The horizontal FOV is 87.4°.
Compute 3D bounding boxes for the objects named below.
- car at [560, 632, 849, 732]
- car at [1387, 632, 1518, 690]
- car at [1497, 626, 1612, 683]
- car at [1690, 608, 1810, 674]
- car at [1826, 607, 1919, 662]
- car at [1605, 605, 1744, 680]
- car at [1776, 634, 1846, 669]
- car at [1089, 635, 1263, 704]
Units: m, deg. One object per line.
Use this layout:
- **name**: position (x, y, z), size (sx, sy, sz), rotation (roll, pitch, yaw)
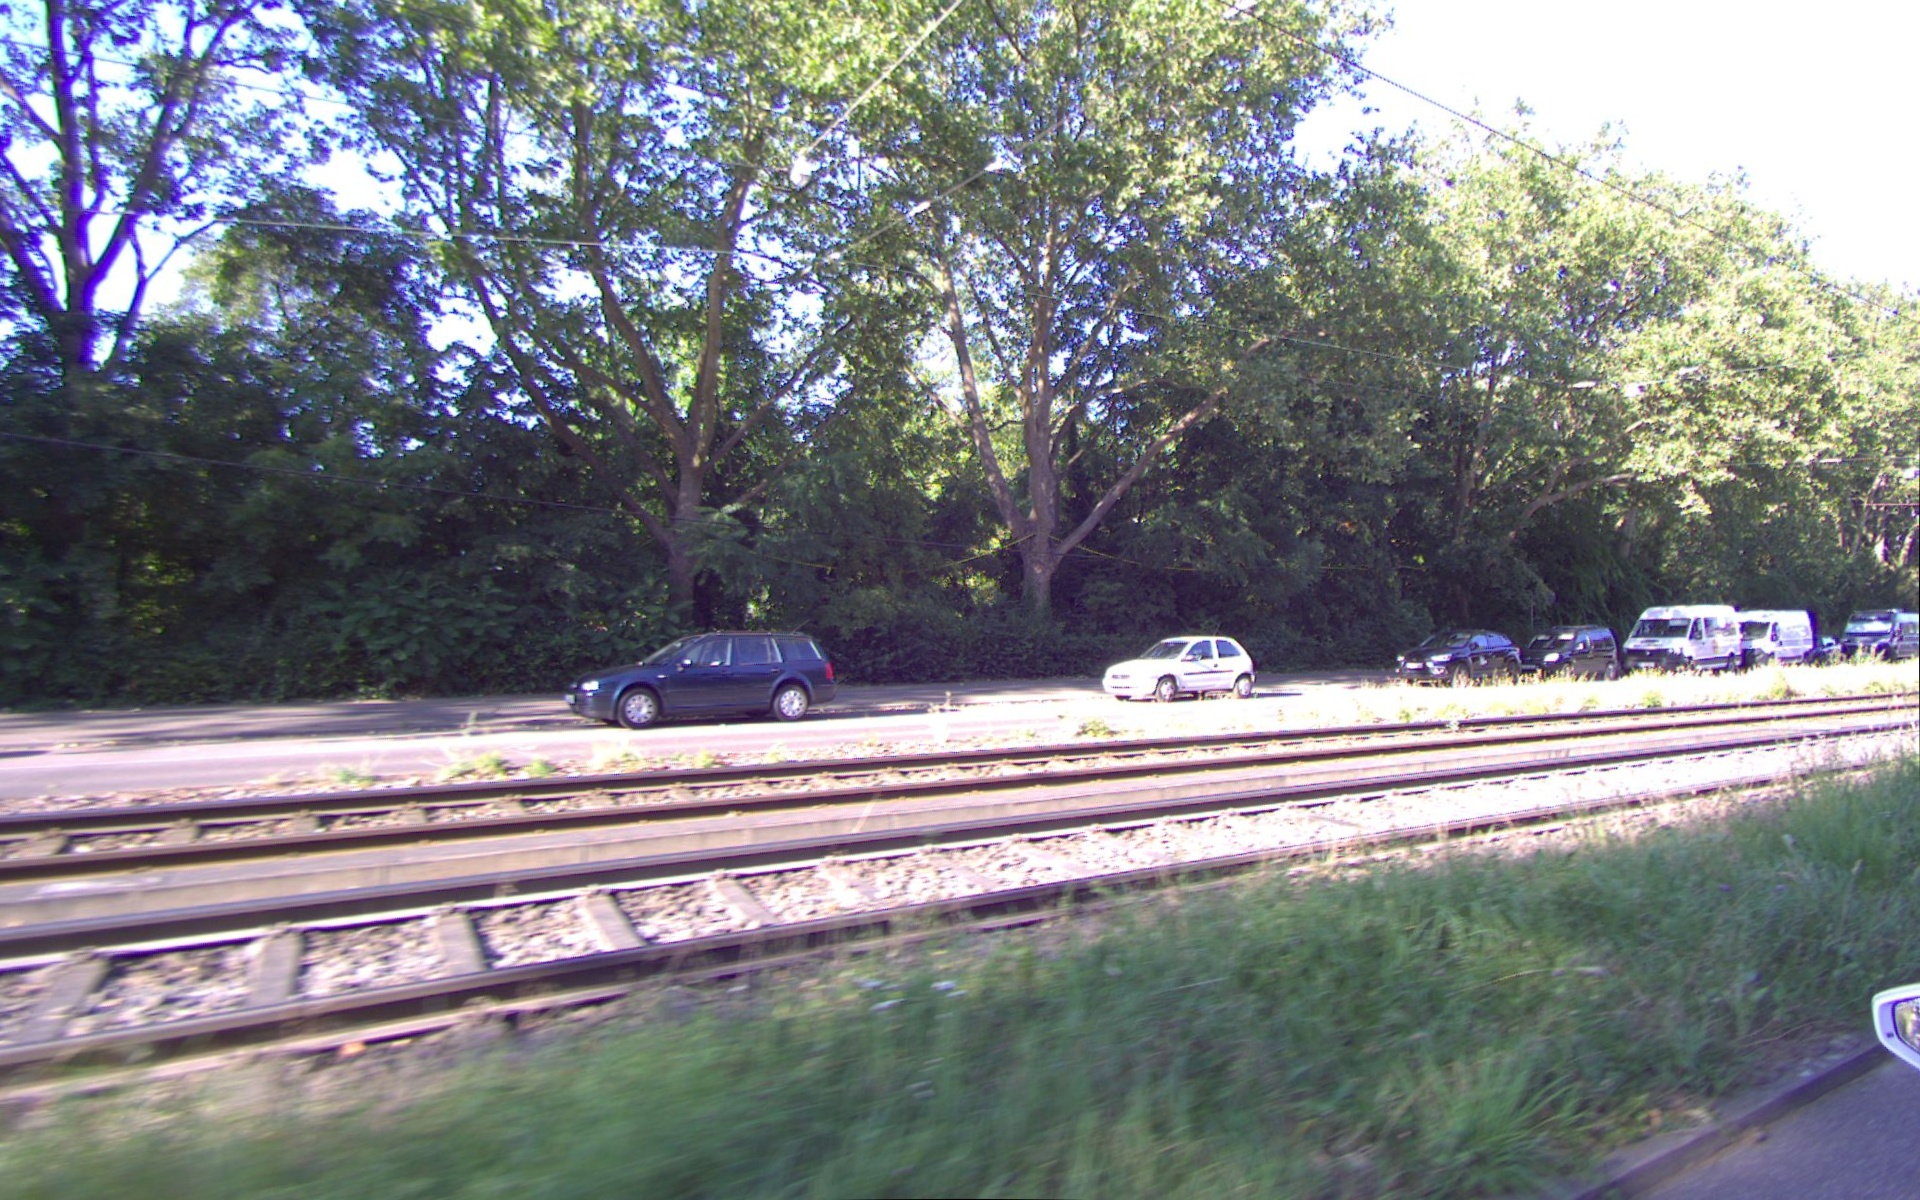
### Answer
- **car**: position (-4.157, 1.286, 16.590), size (4.279, 1.455, 1.816), rotation (2, -3, -34)
- **car**: position (14.293, 1.741, 29.125), size (3.842, 1.575, 1.729), rotation (2, -3, -34)
- **car**: position (19.309, 1.761, 32.594), size (3.842, 1.750, 1.729), rotation (2, -3, -34)
- **car**: position (32.623, 1.709, 41.424), size (6.209, 2.553, 2.170), rotation (2, -3, -35)
- **car**: position (45.168, 1.749, 49.547), size (5.969, 2.553, 2.171), rotation (2, -3, -33)
- **car**: position (26.329, 1.573, 36.932), size (5.987, 2.553, 2.171), rotation (2, -3, -34)
- **car**: position (38.451, 2.309, 45.376), size (3.233, 1.532, 1.641), rotation (2, -3, -35)
- **car**: position (4.928, 1.542, 22.805), size (3.812, 1.455, 1.729), rotation (2, -3, -34)
